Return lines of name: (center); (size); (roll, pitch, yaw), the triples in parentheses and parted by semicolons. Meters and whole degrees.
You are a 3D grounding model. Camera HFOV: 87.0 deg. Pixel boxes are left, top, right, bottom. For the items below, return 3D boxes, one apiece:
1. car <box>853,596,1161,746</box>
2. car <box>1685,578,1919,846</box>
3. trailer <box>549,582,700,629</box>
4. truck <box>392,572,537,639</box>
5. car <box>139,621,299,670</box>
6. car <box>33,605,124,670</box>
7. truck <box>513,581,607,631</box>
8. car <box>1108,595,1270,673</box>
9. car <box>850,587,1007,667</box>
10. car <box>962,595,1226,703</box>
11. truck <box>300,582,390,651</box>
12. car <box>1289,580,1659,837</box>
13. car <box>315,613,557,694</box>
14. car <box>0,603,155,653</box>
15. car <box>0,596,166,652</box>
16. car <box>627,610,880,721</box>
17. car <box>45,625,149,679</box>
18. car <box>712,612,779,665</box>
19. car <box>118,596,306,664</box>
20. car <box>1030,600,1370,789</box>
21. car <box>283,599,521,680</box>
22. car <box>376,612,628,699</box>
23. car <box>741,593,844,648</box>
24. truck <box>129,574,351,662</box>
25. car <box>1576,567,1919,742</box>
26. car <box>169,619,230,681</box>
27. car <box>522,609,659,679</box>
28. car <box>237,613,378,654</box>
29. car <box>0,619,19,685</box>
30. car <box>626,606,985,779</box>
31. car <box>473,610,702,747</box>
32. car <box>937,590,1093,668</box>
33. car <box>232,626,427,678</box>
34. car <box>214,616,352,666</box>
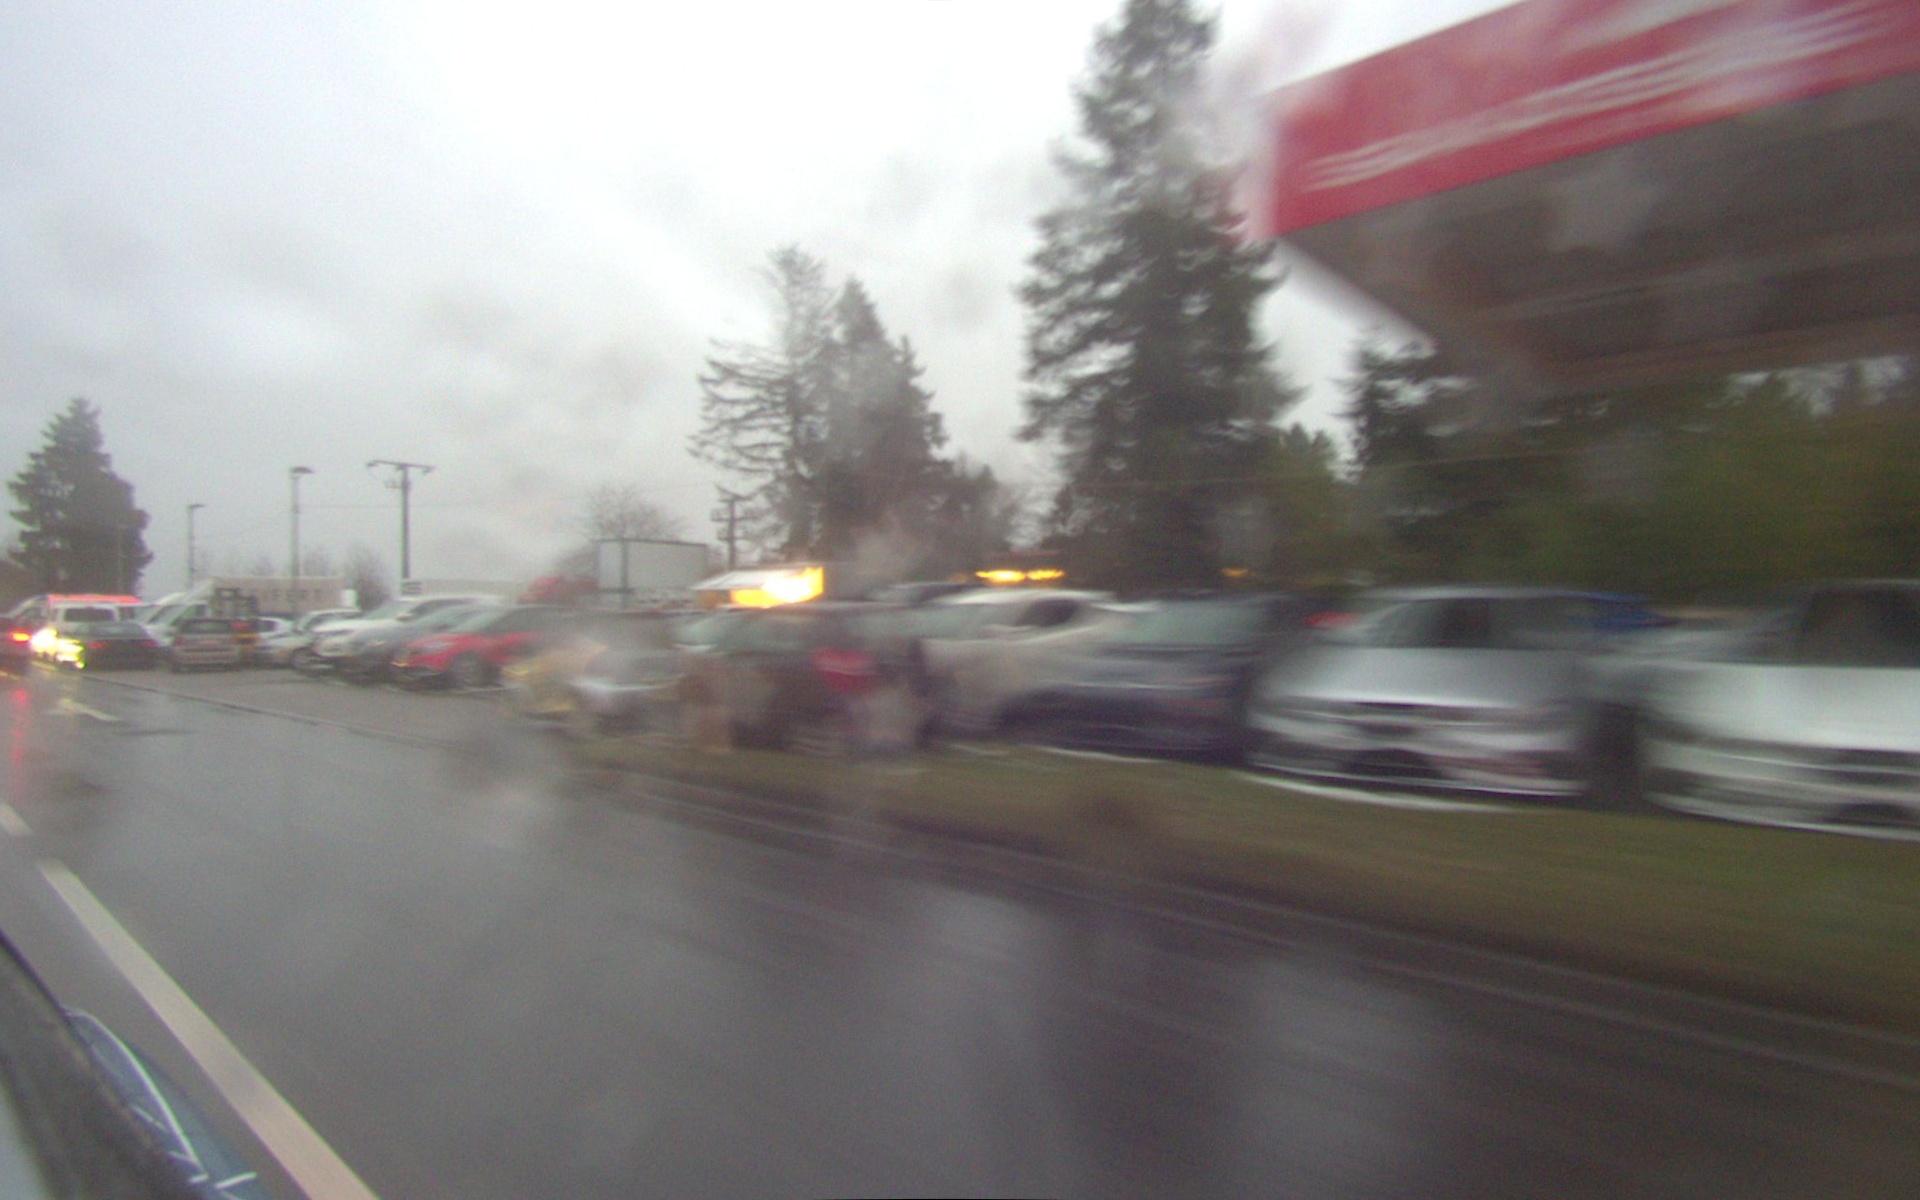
car: (0.742, 0.799, 13.334); (1.941, 1.662, 4.003); (-1, -1, 43)
car: (6.378, 0.579, 6.967); (1.943, 1.420, 3.819); (-1, 1, 40)
trailer: (-20.598, 0.270, 63.000); (2.208, 2.693, 10.413); (-1, 0, 26)
truck: (-33.601, 0.266, 69.074); (2.995, 4.293, 8.626); (-1, 1, 30)
car: (-24.019, 1.491, 32.906); (1.809, 1.489, 3.869); (-1, -3, 41)
car: (-29.330, 1.218, 33.612); (4.484, 2.029, 1.815); (-1, -2, 43)
truck: (-22.951, 0.321, 58.250); (2.223, 2.717, 4.682); (-1, 0, 27)
car: (5.267, 0.704, 23.010); (1.958, 1.588, 3.945); (-1, 0, 41)
car: (-0.760, 0.656, 26.678); (1.958, 1.937, 3.945); (-1, 0, 41)
car: (2.076, 0.721, 16.349); (3.870, 1.501, 1.814); (-1, 0, 43)
truck: (-32.804, 0.913, 53.882); (5.842, 3.481, 2.012); (-1, -3, 37)
car: (4.430, 0.660, 8.384); (1.822, 1.566, 3.989); (-2, 0, 40)
car: (-11.310, 1.082, 22.050); (1.995, 1.509, 4.288); (-1, -1, 44)
car: (-40.615, 1.310, 46.687); (2.057, 2.167, 5.092); (-2, -3, 41)
car: (-43.628, 1.230, 50.434); (2.175, 2.652, 6.092); (-2, -3, 41)
car: (-3.217, 0.949, 16.317); (1.774, 1.470, 3.735); (-1, 0, 38)
car: (-25.163, 1.474, 29.466); (4.253, 1.331, 1.554); (1, -1, 39)
car: (-6.207, 1.059, 29.076); (1.646, 1.394, 3.633); (-1, 0, -16)
car: (-31.142, 1.225, 42.350); (2.193, 2.658, 5.972); (-2, -2, 39)
car: (2.592, 0.785, 10.333); (1.839, 1.463, 3.819); (-1, 1, 40)
car: (-12.972, 0.848, 23.792); (2.007, 1.689, 4.492); (-1, -1, 37)
car: (-9.173, 1.042, 20.545); (1.825, 1.509, 4.290); (-1, -1, 41)
car: (-7.353, 0.892, 44.785); (2.260, 2.298, 4.196); (-1, -1, 33)
truck: (-28.230, 0.688, 39.975); (2.332, 3.166, 6.790); (-2, -1, 39)
car: (8.732, 0.482, 10.171); (4.043, 1.566, 1.848); (-2, 0, 42)
car: (-21.267, 1.362, 28.274); (1.157, 1.657, 2.874); (1, -2, -40)
car: (-9.558, 1.086, 26.082); (3.703, 1.689, 1.653); (-1, -1, 39)
car: (-23.985, 1.201, 37.326); (1.812, 1.388, 4.011); (-1, -1, 37)
car: (-24.118, 1.212, 24.414); (3.997, 1.546, 1.586); (-1, -3, 41)
car: (-1.693, 0.792, 10.295); (3.740, 1.431, 1.664); (-1, -1, 43)
car: (-4.839, 0.931, 13.031); (3.013, 1.555, 1.502); (-1, -2, 41)
car: (1.477, 0.694, 25.883); (1.958, 1.822, 3.945); (-1, 0, 41)
car: (-19.083, 1.541, 30.837); (1.781, 1.448, 4.708); (-1, -2, 39)
car: (-26.014, 1.521, 39.003); (2.022, 1.746, 4.011); (-1, -1, 37)
